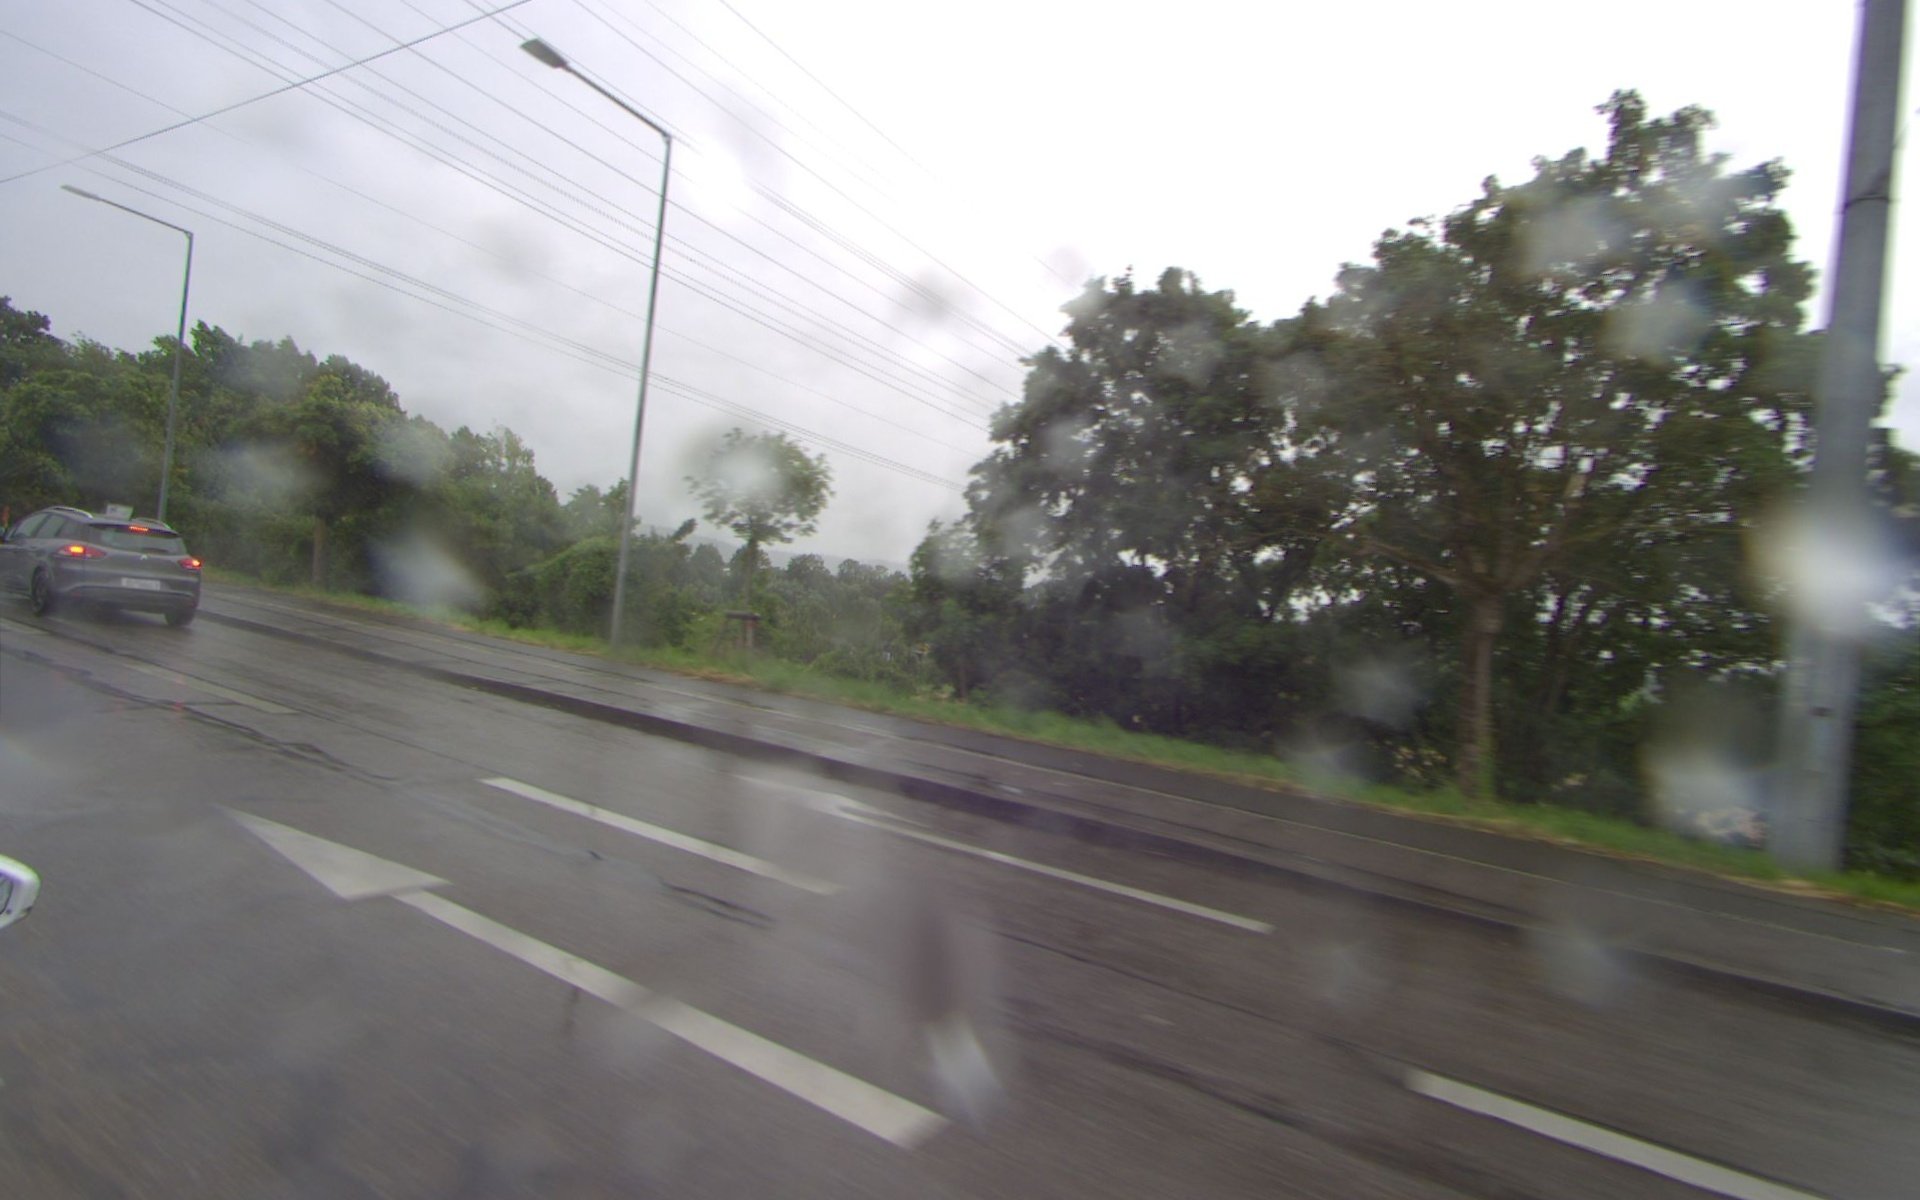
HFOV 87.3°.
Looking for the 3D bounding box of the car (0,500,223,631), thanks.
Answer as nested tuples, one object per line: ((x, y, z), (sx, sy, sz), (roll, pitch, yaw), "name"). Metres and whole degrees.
((-12.733, -0.575, 14.516), (4.207, 1.373, 1.891), (7, -1, 33), "car")
